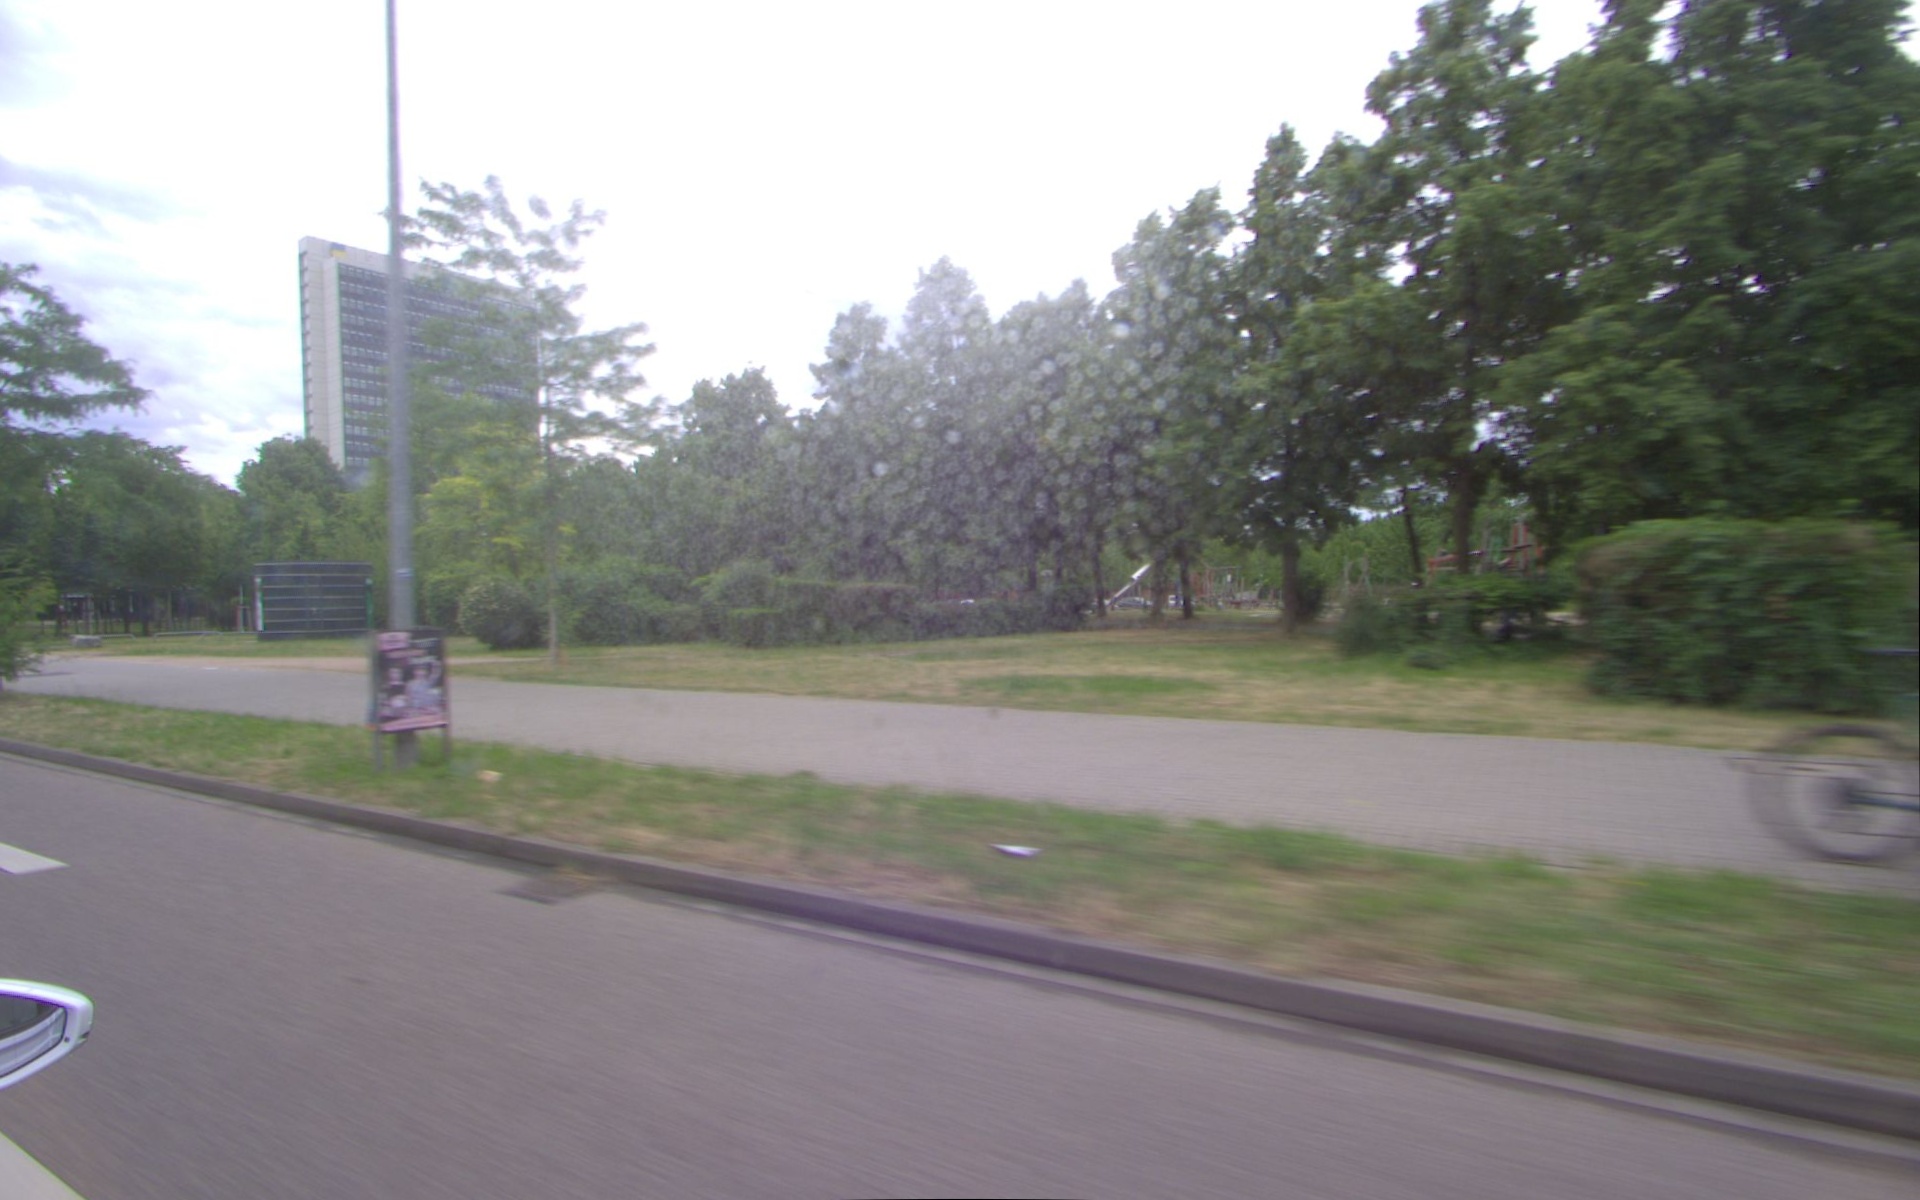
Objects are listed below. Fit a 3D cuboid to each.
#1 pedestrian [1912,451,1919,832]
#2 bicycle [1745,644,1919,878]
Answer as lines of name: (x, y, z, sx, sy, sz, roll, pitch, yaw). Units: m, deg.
pedestrian: (4.927, 0.208, 4.574, 0.672, 1.895, 0.738, 0, 2, 31)
bicycle: (4.780, 0.742, 4.616, 1.753, 1.016, 0.653, 0, 1, 32)
